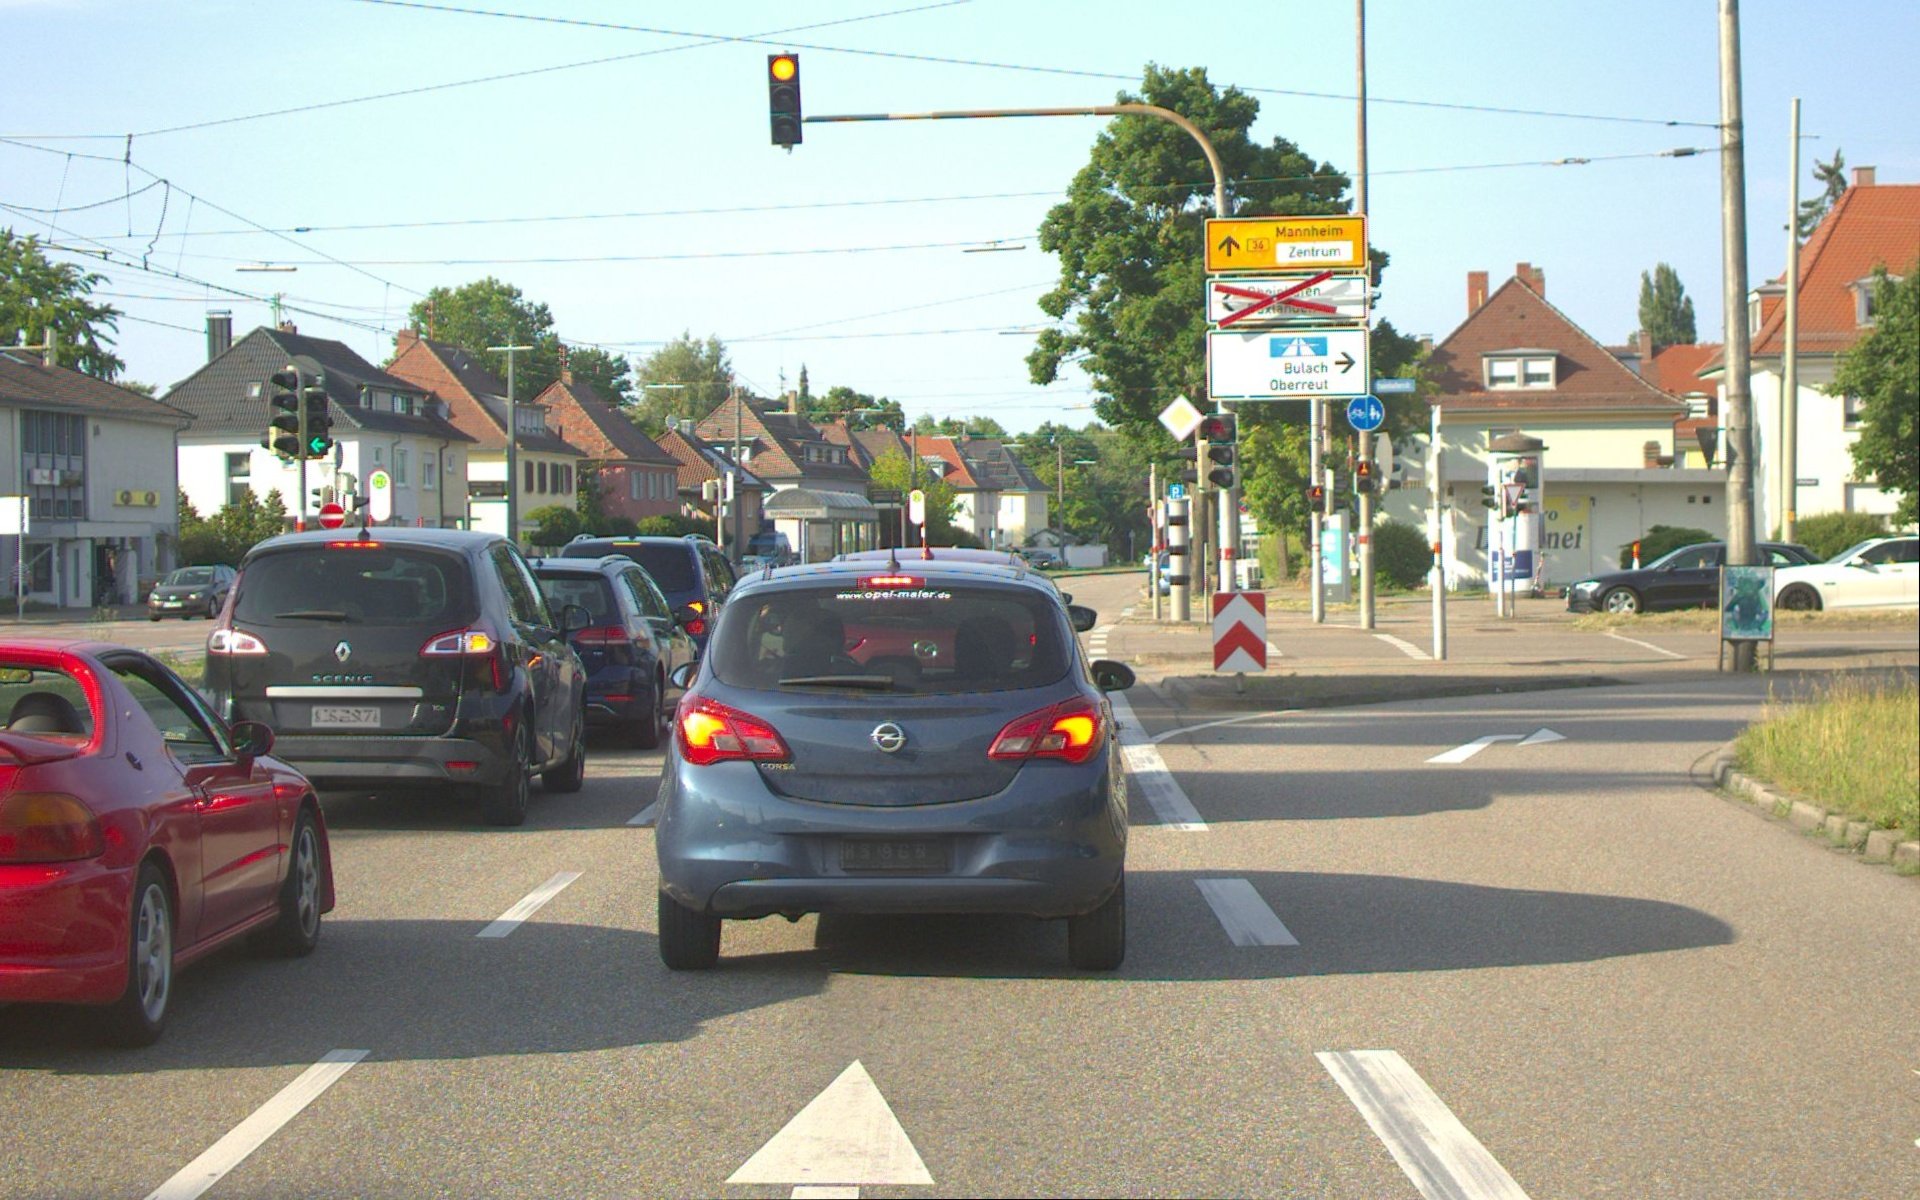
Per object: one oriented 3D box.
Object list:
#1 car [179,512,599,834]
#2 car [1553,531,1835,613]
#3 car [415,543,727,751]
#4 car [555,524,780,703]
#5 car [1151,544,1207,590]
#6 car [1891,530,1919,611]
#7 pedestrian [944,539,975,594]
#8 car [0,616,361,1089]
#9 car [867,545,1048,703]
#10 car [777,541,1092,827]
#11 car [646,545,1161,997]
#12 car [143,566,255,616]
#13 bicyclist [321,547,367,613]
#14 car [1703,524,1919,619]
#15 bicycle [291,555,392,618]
[{"bbox_3d":[-3.171,0.343,19.857,1.763,1.665,4.084,0,1,0],"label":"car"},{"bbox_3d":[13.339,-0.515,62.676,4.824,1.406,1.715,-1,1,4],"label":"car"},{"bbox_3d":[-2.979,0.304,27.231,1.700,1.503,4.553,0,1,3],"label":"car"},{"bbox_3d":[-2.861,0.083,34.485,1.507,1.645,4.743,-1,1,4],"label":"car"},{"bbox_3d":[6.838,-1.018,107.596,1.675,1.393,3.999,1,0,3],"label":"car"},{"bbox_3d":[19.041,-0.570,62.182,3.987,1.448,1.715,-1,1,4],"label":"car"},{"bbox_3d":[-0.014,-0.930,95.392,0.753,1.494,0.827,1,0,5],"label":"pedestrian"},{"bbox_3d":[-3.239,0.707,11.482,1.731,1.202,3.847,1,1,1],"label":"car"},{"bbox_3d":[-0.006,0.194,34.020,1.656,1.438,4.014,-1,1,0],"label":"car"},{"bbox_3d":[-0.139,0.431,20.904,1.706,1.546,3.978,-1,1,0],"label":"car"},{"bbox_3d":[-0.203,0.550,13.830,1.741,1.500,4.223,-1,1,0],"label":"car"},{"bbox_3d":[-20.992,-0.242,94.942,1.664,1.341,4.076,-1,0,8],"label":"car"},{"bbox_3d":[-13.504,-0.442,75.379,0.884,1.426,1.137,1,0,-6],"label":"bicyclist"},{"bbox_3d":[15.468,-0.502,58.957,5.095,1.557,1.840,-1,1,4],"label":"car"},{"bbox_3d":[-13.553,-0.289,75.382,2.073,1.343,1.109,1,0,-6],"label":"bicycle"}]
